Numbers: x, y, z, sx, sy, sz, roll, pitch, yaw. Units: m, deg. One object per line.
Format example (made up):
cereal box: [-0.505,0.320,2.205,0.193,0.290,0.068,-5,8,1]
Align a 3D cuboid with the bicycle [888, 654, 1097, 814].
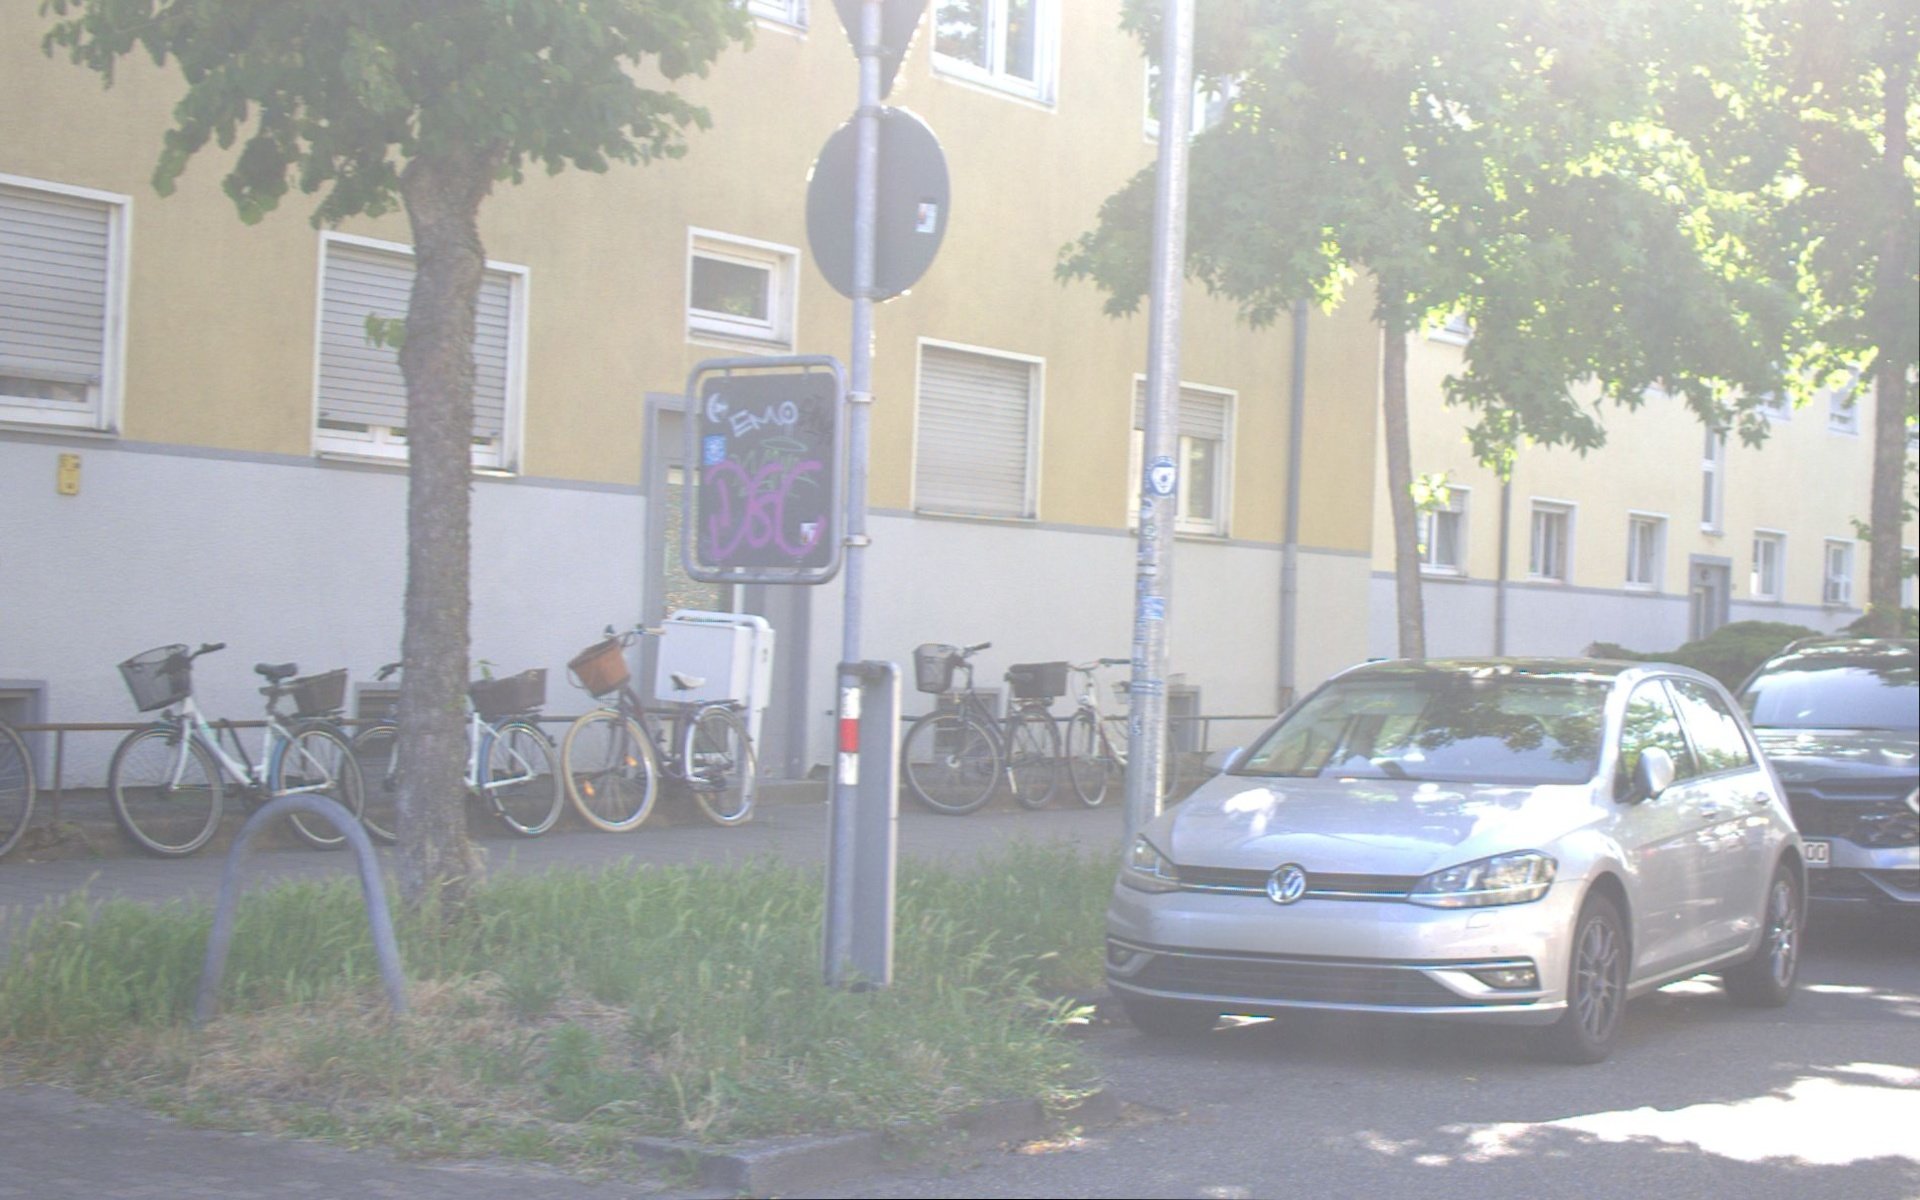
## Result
bicycle: [0.240,0.903,23.406,0.541,1.023,1.745,2,0,32]

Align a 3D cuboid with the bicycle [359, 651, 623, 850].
bicycle: [-2.494,0.791,18.436,0.512,0.997,1.542,2,0,31]

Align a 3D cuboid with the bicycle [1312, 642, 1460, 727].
bicycle: [5.020,0.990,40.543,1.634,0.927,0.480,2,0,23]

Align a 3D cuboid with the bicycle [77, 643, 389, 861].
bicycle: [-3.541,0.729,16.874,0.435,0.997,1.678,2,0,31]

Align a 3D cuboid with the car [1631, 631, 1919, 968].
car: [5.271,1.018,18.849,1.694,1.559,4.727,2,0,29]

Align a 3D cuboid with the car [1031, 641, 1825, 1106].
car: [1.975,0.937,13.353,1.762,1.437,3.988,2,0,27]

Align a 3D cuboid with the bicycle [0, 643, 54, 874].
bicycle: [-4.636,0.679,14.720,0.454,0.997,1.542,2,0,31]

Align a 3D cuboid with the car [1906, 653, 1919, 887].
car: [7.584,1.142,22.796,1.668,1.481,3.250,2,0,31]

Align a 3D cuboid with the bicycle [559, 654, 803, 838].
bicycle: [-1.594,0.832,19.836,0.516,0.997,1.541,2,0,34]

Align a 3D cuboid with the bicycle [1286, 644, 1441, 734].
bicycle: [4.508,0.994,38.464,1.635,0.927,0.480,2,0,28]

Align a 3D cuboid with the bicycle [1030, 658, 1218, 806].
bicycle: [1.215,0.953,25.071,0.536,1.023,1.745,2,0,32]
